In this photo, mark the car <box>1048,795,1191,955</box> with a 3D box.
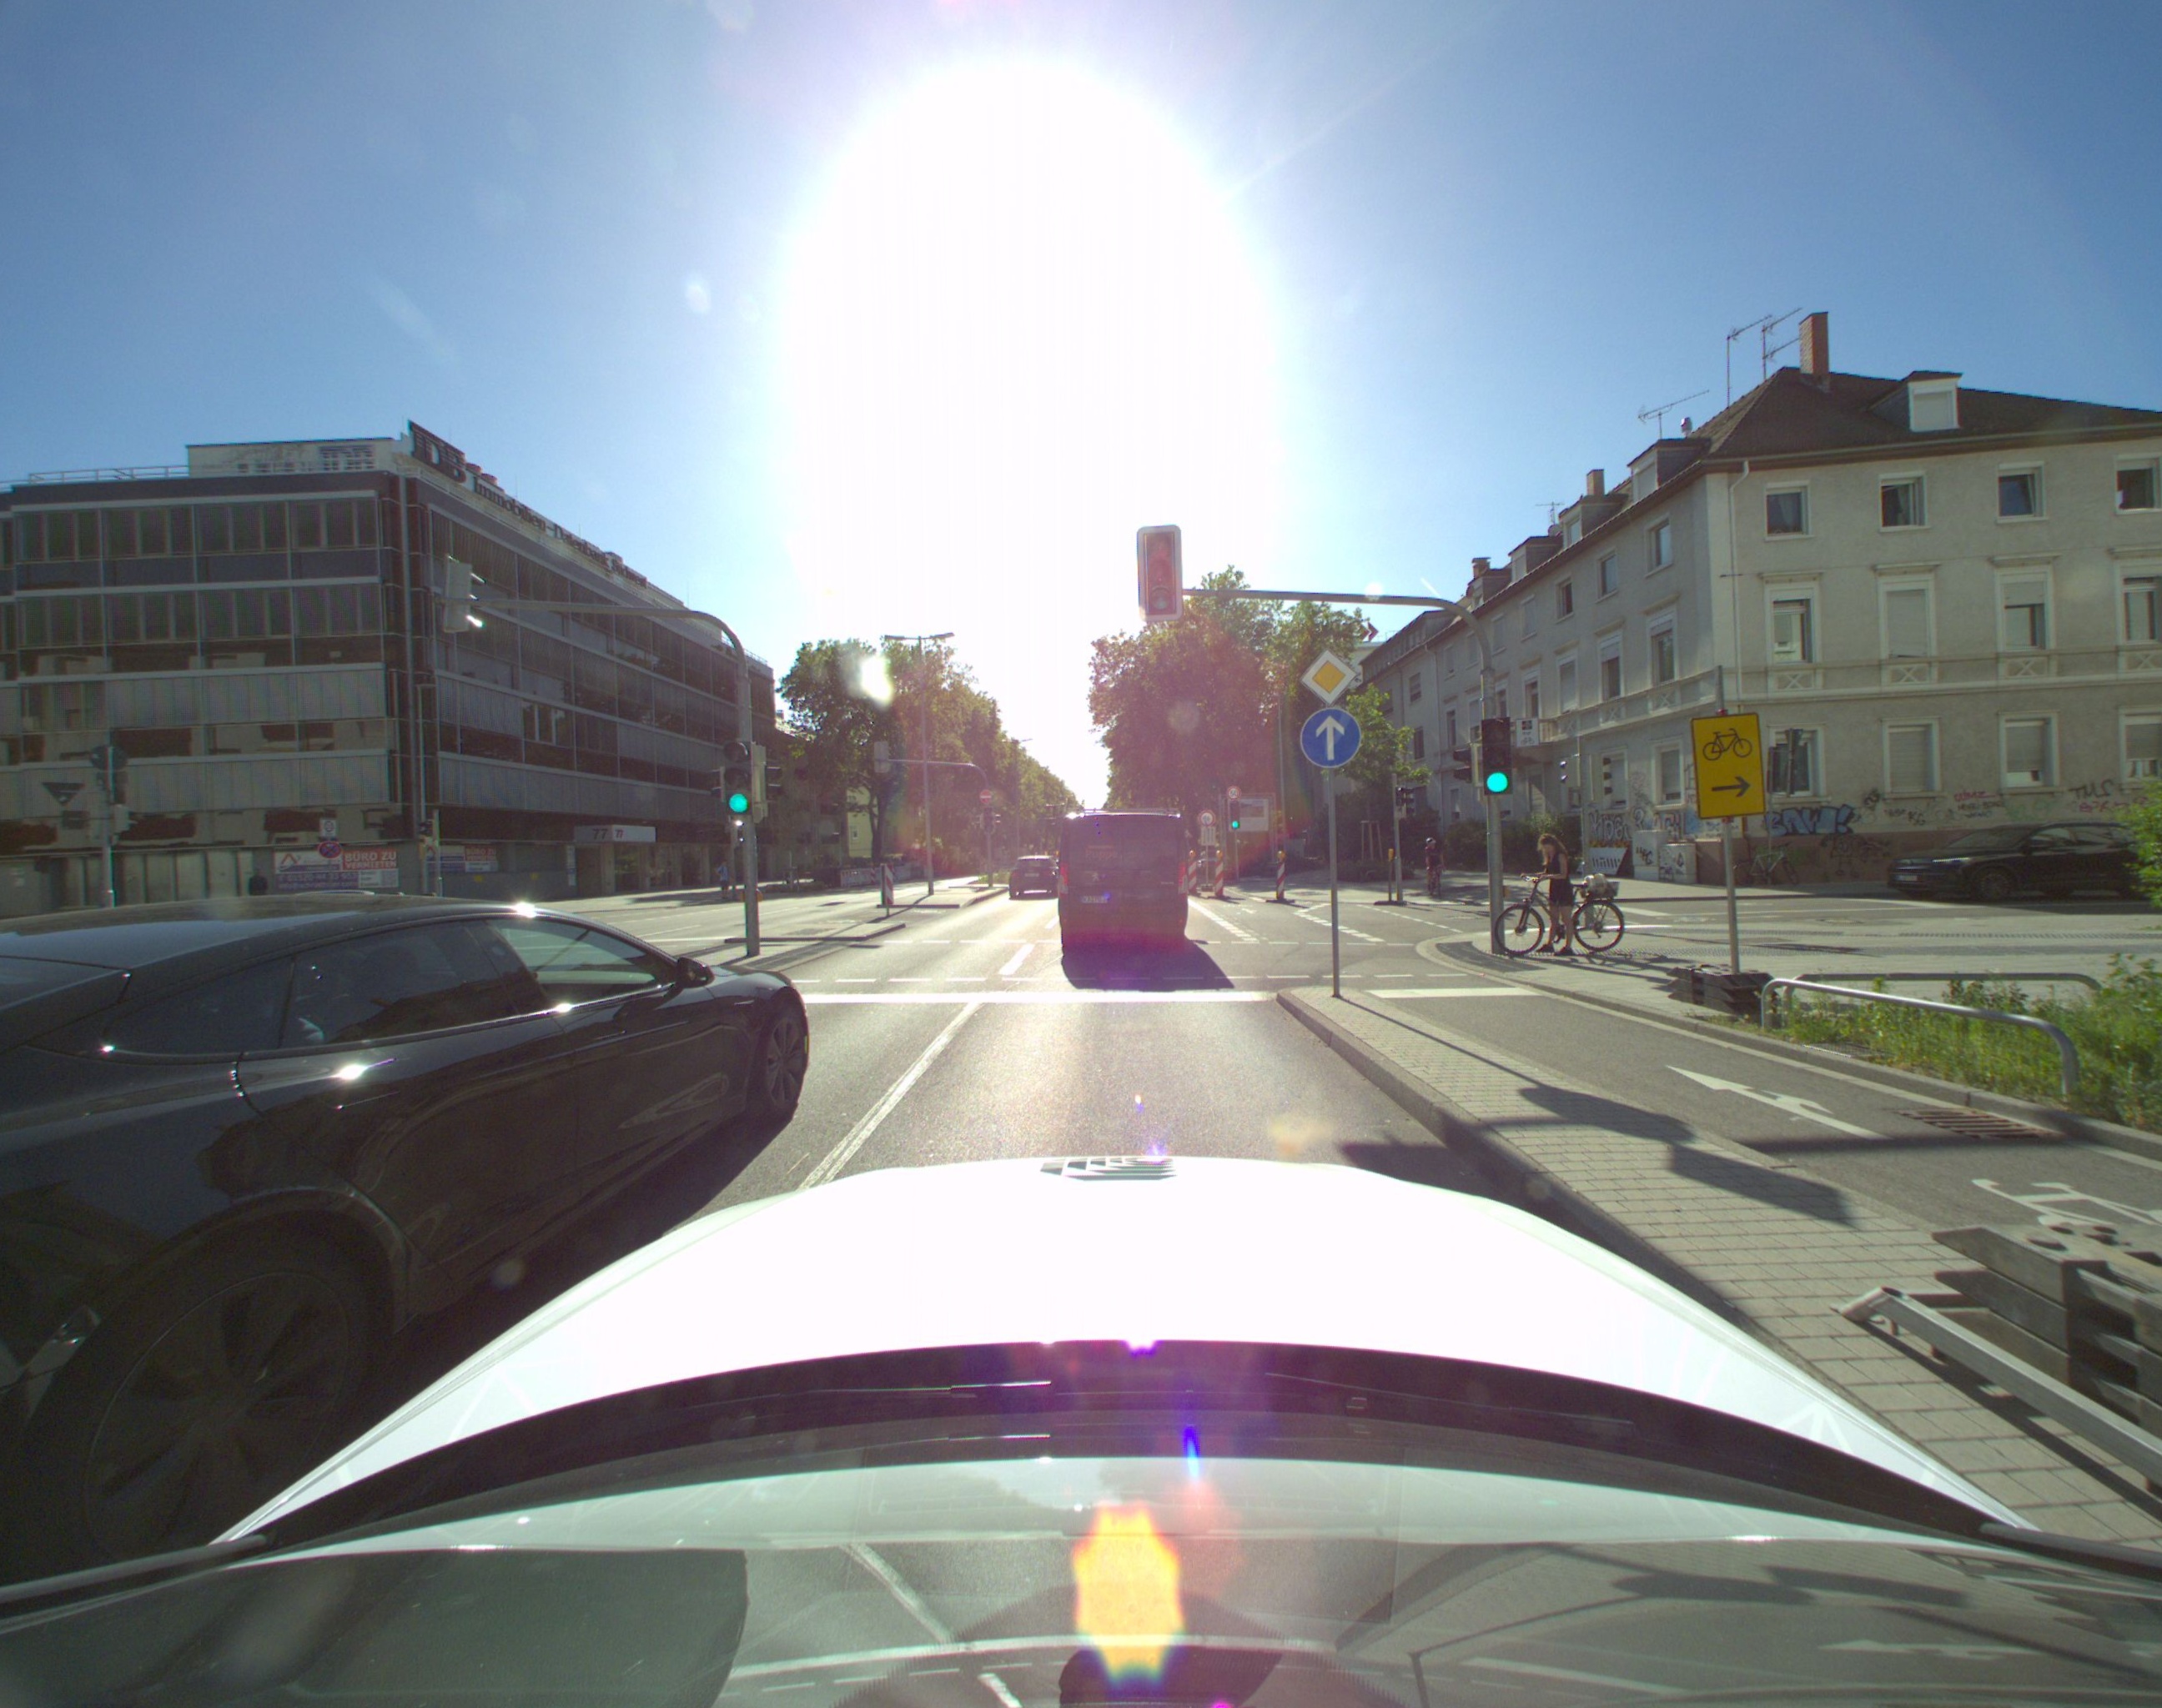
[{"bbox_3d":[0.627,0.304,14.221,2.087,2.355,3.934,-1,0,1],"label":"car"}]

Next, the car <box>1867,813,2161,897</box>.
[{"bbox_3d":[20.127,0.018,17.556,4.227,1.618,1.989,-1,0,7],"label":"car"}]

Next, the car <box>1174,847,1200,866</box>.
[{"bbox_3d":[8.757,0.186,67.662,1.757,1.508,4.253,-2,0,2],"label":"car"}]

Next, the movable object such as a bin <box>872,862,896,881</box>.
[{"bbox_3d":[-14.525,1.314,60.099,1.404,1.338,0.937,-2,0,4],"label":"movable object such as a bin"}]

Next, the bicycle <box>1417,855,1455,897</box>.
[{"bbox_3d":[10.054,0.601,23.097,0.683,1.098,1.693,-2,0,14],"label":"bicycle"}]

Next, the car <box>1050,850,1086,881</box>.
[{"bbox_3d":[-0.643,0.555,42.235,1.740,1.407,4.001,-1,1,0],"label":"car"}]

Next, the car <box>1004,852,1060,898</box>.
[{"bbox_3d":[-1.706,0.694,29.434,1.740,1.407,4.001,-1,2,0],"label":"car"}]

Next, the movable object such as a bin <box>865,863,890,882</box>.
[{"bbox_3d":[-14.760,1.338,59.018,1.404,1.338,1.158,-2,0,4],"label":"movable object such as a bin"}]

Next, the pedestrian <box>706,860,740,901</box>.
[{"bbox_3d":[-15.486,1.146,35.272,0.860,1.710,1.015,-2,0,9],"label":"pedestrian"}]

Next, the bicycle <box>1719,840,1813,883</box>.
[{"bbox_3d":[18.550,0.199,22.081,1.988,1.080,0.579,-2,0,3],"label":"bicycle"}]

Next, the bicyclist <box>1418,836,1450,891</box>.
[{"bbox_3d":[10.007,0.267,23.111,0.718,1.499,0.875,-2,0,17],"label":"bicyclist"}]

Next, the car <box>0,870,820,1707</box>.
[{"bbox_3d":[-2.764,0.832,3.049,1.918,1.412,4.627,-2,0,2],"label":"car"}]

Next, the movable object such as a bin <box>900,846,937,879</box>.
[{"bbox_3d":[-14.435,0.709,72.559,2.140,2.706,5.353,-2,0,-1],"label":"movable object such as a bin"}]

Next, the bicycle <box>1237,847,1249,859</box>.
[{"bbox_3d":[13.762,-0.126,69.130,0.779,0.966,1.825,-2,0,4],"label":"bicycle"}]

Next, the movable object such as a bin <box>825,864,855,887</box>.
[{"bbox_3d":[-15.400,1.363,52.022,1.209,1.388,1.858,-2,0,4],"label":"movable object such as a bin"}]

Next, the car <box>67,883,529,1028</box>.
[{"bbox_3d":[-10.230,1.218,11.252,1.921,1.345,4.324,-2,1,6],"label":"car"}]

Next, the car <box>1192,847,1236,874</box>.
[{"bbox_3d":[7.828,0.371,48.443,1.846,1.479,4.943,-2,0,1],"label":"car"}]

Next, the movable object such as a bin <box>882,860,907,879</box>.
[{"bbox_3d":[-14.731,1.234,64.267,1.637,1.422,1.253,-2,0,-24],"label":"movable object such as a bin"}]

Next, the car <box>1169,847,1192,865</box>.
[{"bbox_3d":[8.871,0.145,72.654,1.651,1.540,4.131,-1,0,2],"label":"car"}]

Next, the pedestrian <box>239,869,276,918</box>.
[{"bbox_3d":[-29.175,1.377,28.866,0.703,1.657,0.739,-2,1,-33],"label":"pedestrian"}]

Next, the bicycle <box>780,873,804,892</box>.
[{"bbox_3d":[-16.736,1.631,47.183,0.624,1.037,1.881,-2,0,3],"label":"bicycle"}]

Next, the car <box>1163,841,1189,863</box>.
[{"bbox_3d":[9.257,-0.188,79.338,2.018,1.946,5.275,-2,0,2],"label":"car"}]

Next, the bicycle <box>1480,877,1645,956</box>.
[{"bbox_3d":[6.735,0.867,11.451,1.955,1.025,0.605,-1,1,1],"label":"bicycle"}]

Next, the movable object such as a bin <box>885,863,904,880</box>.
[{"bbox_3d":[-14.287,1.340,62.430,0.976,1.270,1.541,-2,0,2],"label":"movable object such as a bin"}]

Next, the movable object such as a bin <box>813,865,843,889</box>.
[{"bbox_3d":[-15.400,1.407,49.683,1.109,1.388,1.858,-2,0,4],"label":"movable object such as a bin"}]

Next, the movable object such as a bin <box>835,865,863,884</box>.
[{"bbox_3d":[-15.292,1.331,53.759,1.387,1.203,1.243,-2,0,5],"label":"movable object such as a bin"}]

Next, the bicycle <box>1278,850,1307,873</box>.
[{"bbox_3d":[10.302,0.355,39.648,0.581,1.005,2.145,-2,0,37],"label":"bicycle"}]

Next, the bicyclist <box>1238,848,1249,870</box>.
[{"bbox_3d":[13.801,0.424,69.219,0.721,1.820,1.071,-2,0,3],"label":"bicyclist"}]

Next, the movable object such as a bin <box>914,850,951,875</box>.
[{"bbox_3d":[-14.287,0.789,78.743,1.984,2.278,5.606,-3,0,5],"label":"movable object such as a bin"}]

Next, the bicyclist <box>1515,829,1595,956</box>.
[{"bbox_3d":[6.670,0.518,11.505,0.601,1.708,0.859,-2,0,2],"label":"bicyclist"}]
